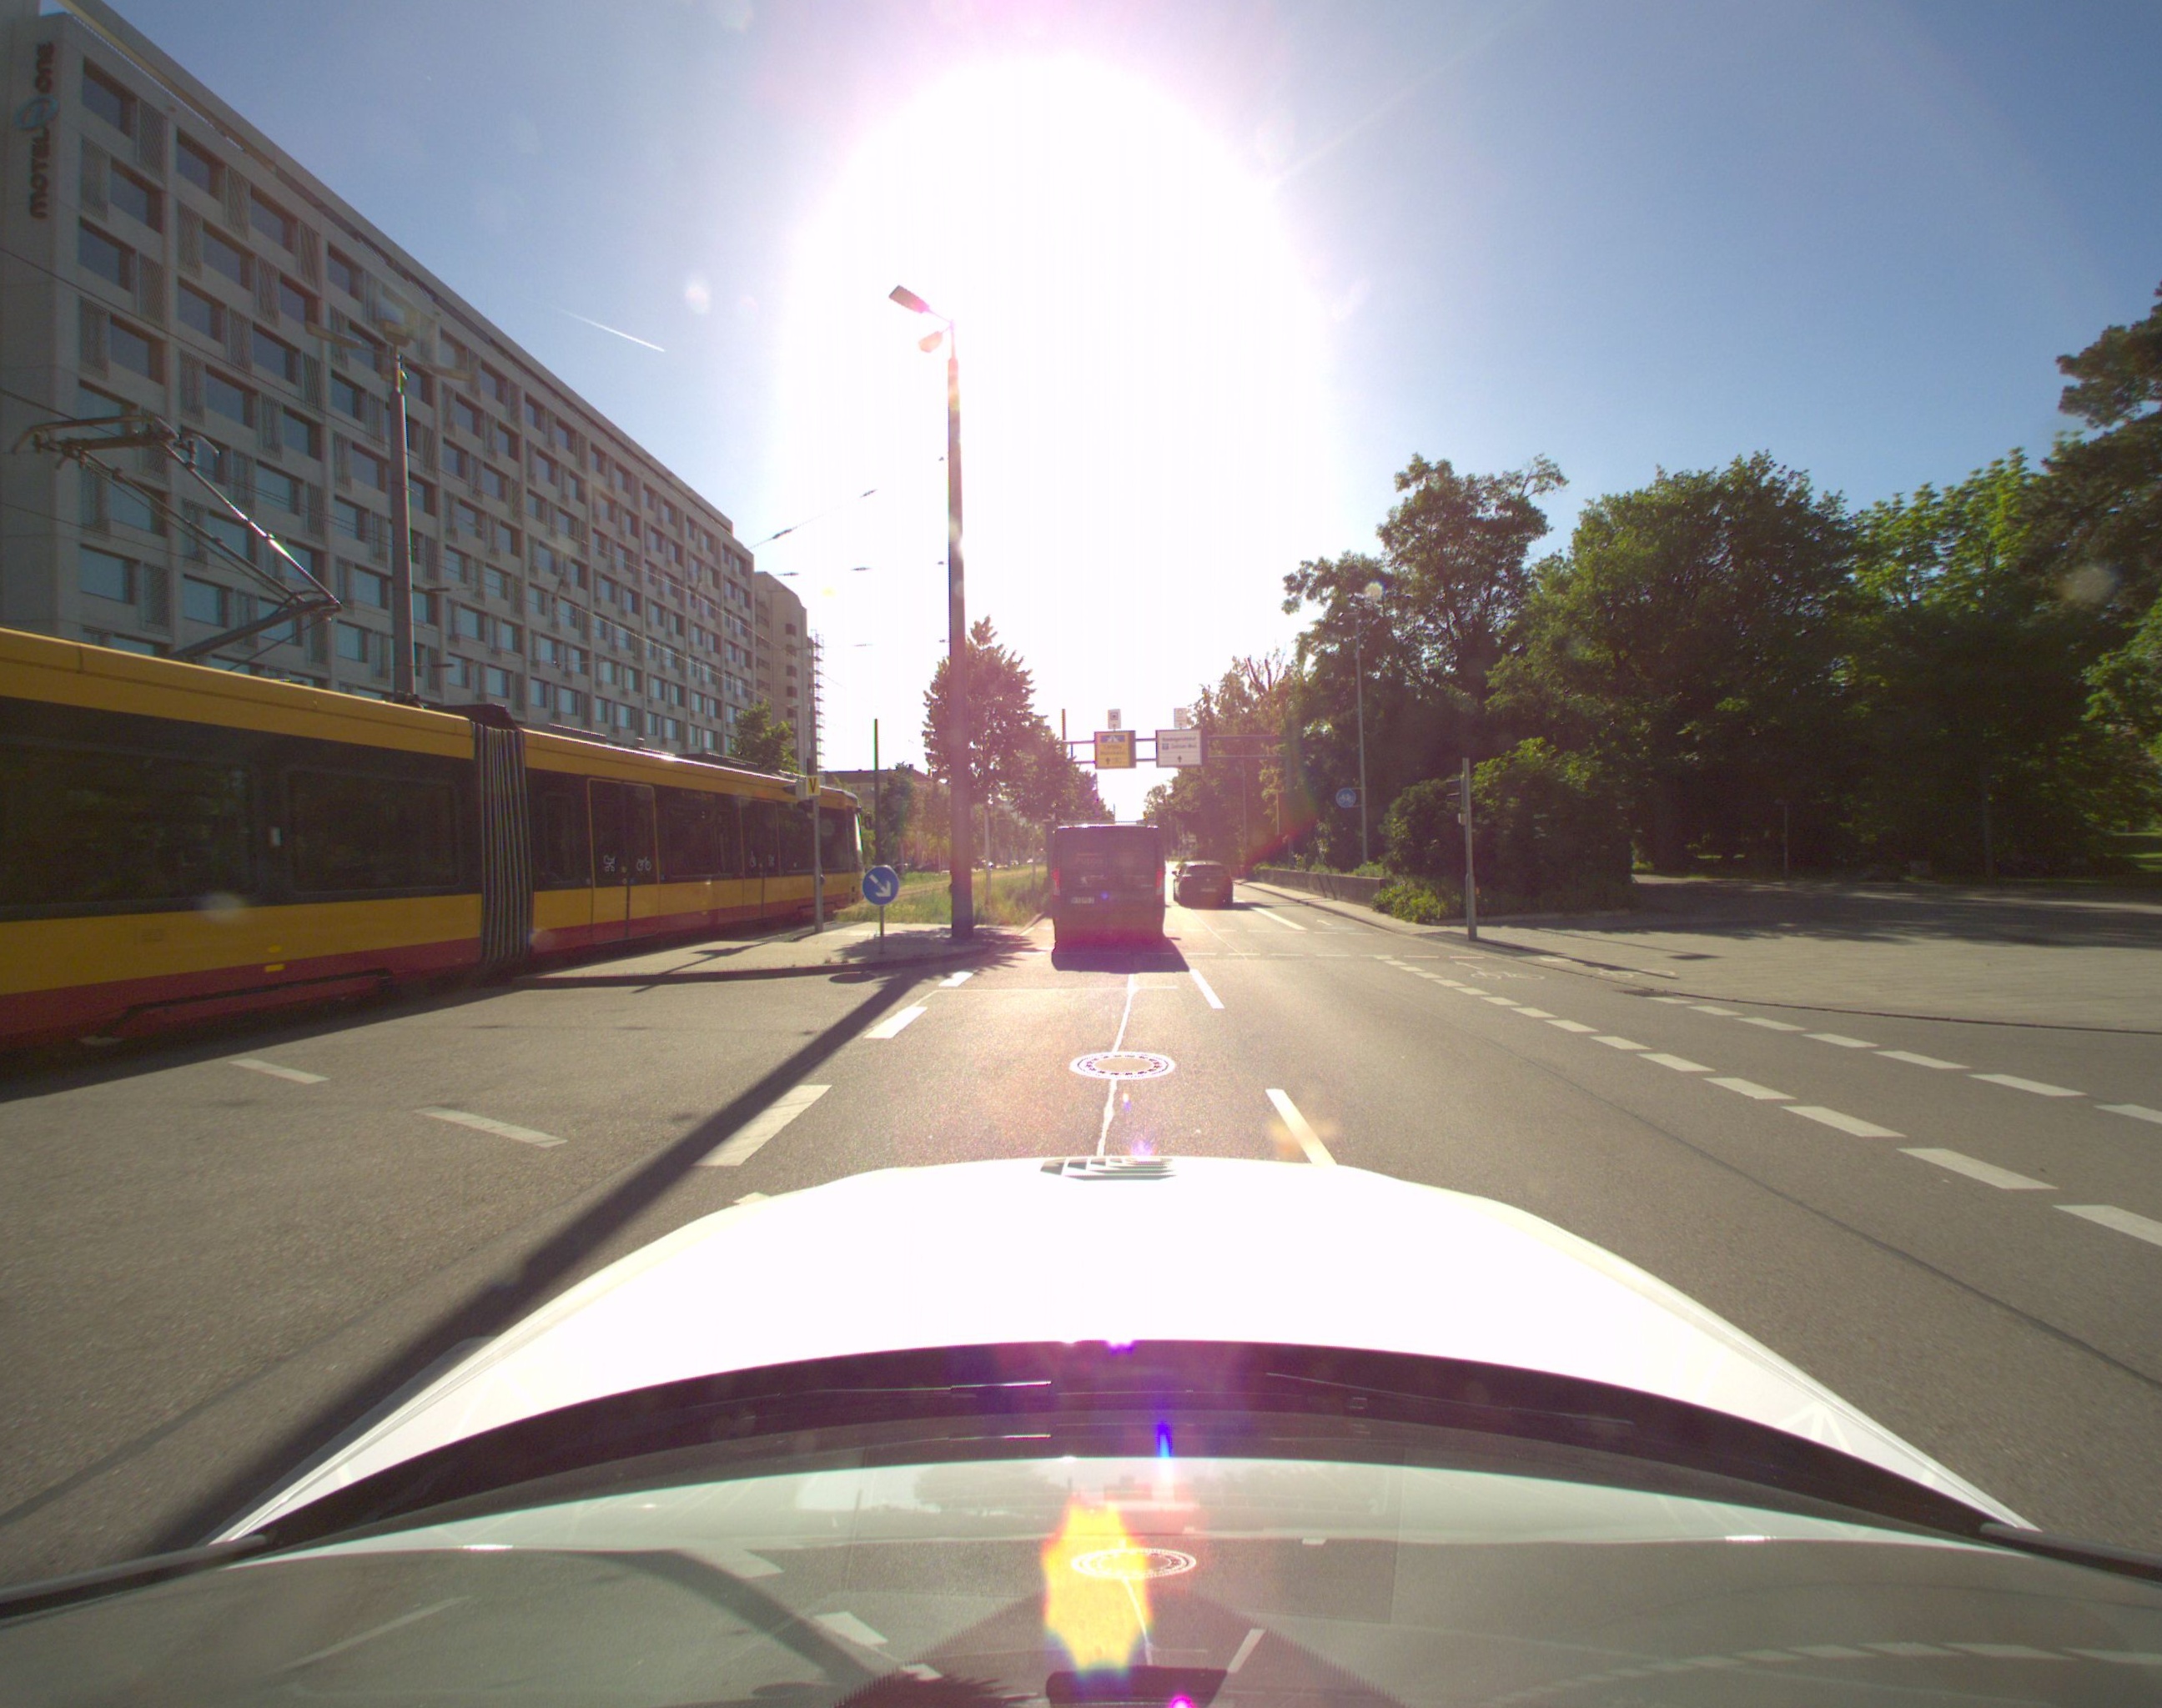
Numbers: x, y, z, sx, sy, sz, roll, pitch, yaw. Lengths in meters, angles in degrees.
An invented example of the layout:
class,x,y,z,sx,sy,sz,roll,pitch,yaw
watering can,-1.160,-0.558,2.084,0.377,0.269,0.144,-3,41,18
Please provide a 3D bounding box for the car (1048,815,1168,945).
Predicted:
class,x,y,z,sx,sy,sz,roll,pitch,yaw
car,0.566,0.464,16.190,2.073,2.249,4.003,0,0,3

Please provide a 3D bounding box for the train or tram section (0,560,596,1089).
class,x,y,z,sx,sy,sz,roll,pitch,yaw
train or tram section,-8.448,-0.198,5.981,1.983,3.669,11.335,0,0,6

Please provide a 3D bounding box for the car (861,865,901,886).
class,x,y,z,sx,sy,sz,roll,pitch,yaw
car,-16.199,1.722,66.193,1.984,1.552,4.006,0,0,5

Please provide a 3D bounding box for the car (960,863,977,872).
class,x,y,z,sx,sy,sz,roll,pitch,yaw
car,-18.858,2.239,136.594,1.984,1.552,4.005,0,0,4

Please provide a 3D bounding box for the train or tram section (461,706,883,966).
class,x,y,z,sx,sy,sz,roll,pitch,yaw
train or tram section,-7.238,-0.214,17.358,1.983,3.669,11.702,0,0,6

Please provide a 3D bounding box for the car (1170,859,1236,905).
class,x,y,z,sx,sy,sz,roll,pitch,yaw
car,4.055,0.898,27.669,1.757,1.462,4.001,0,0,1
